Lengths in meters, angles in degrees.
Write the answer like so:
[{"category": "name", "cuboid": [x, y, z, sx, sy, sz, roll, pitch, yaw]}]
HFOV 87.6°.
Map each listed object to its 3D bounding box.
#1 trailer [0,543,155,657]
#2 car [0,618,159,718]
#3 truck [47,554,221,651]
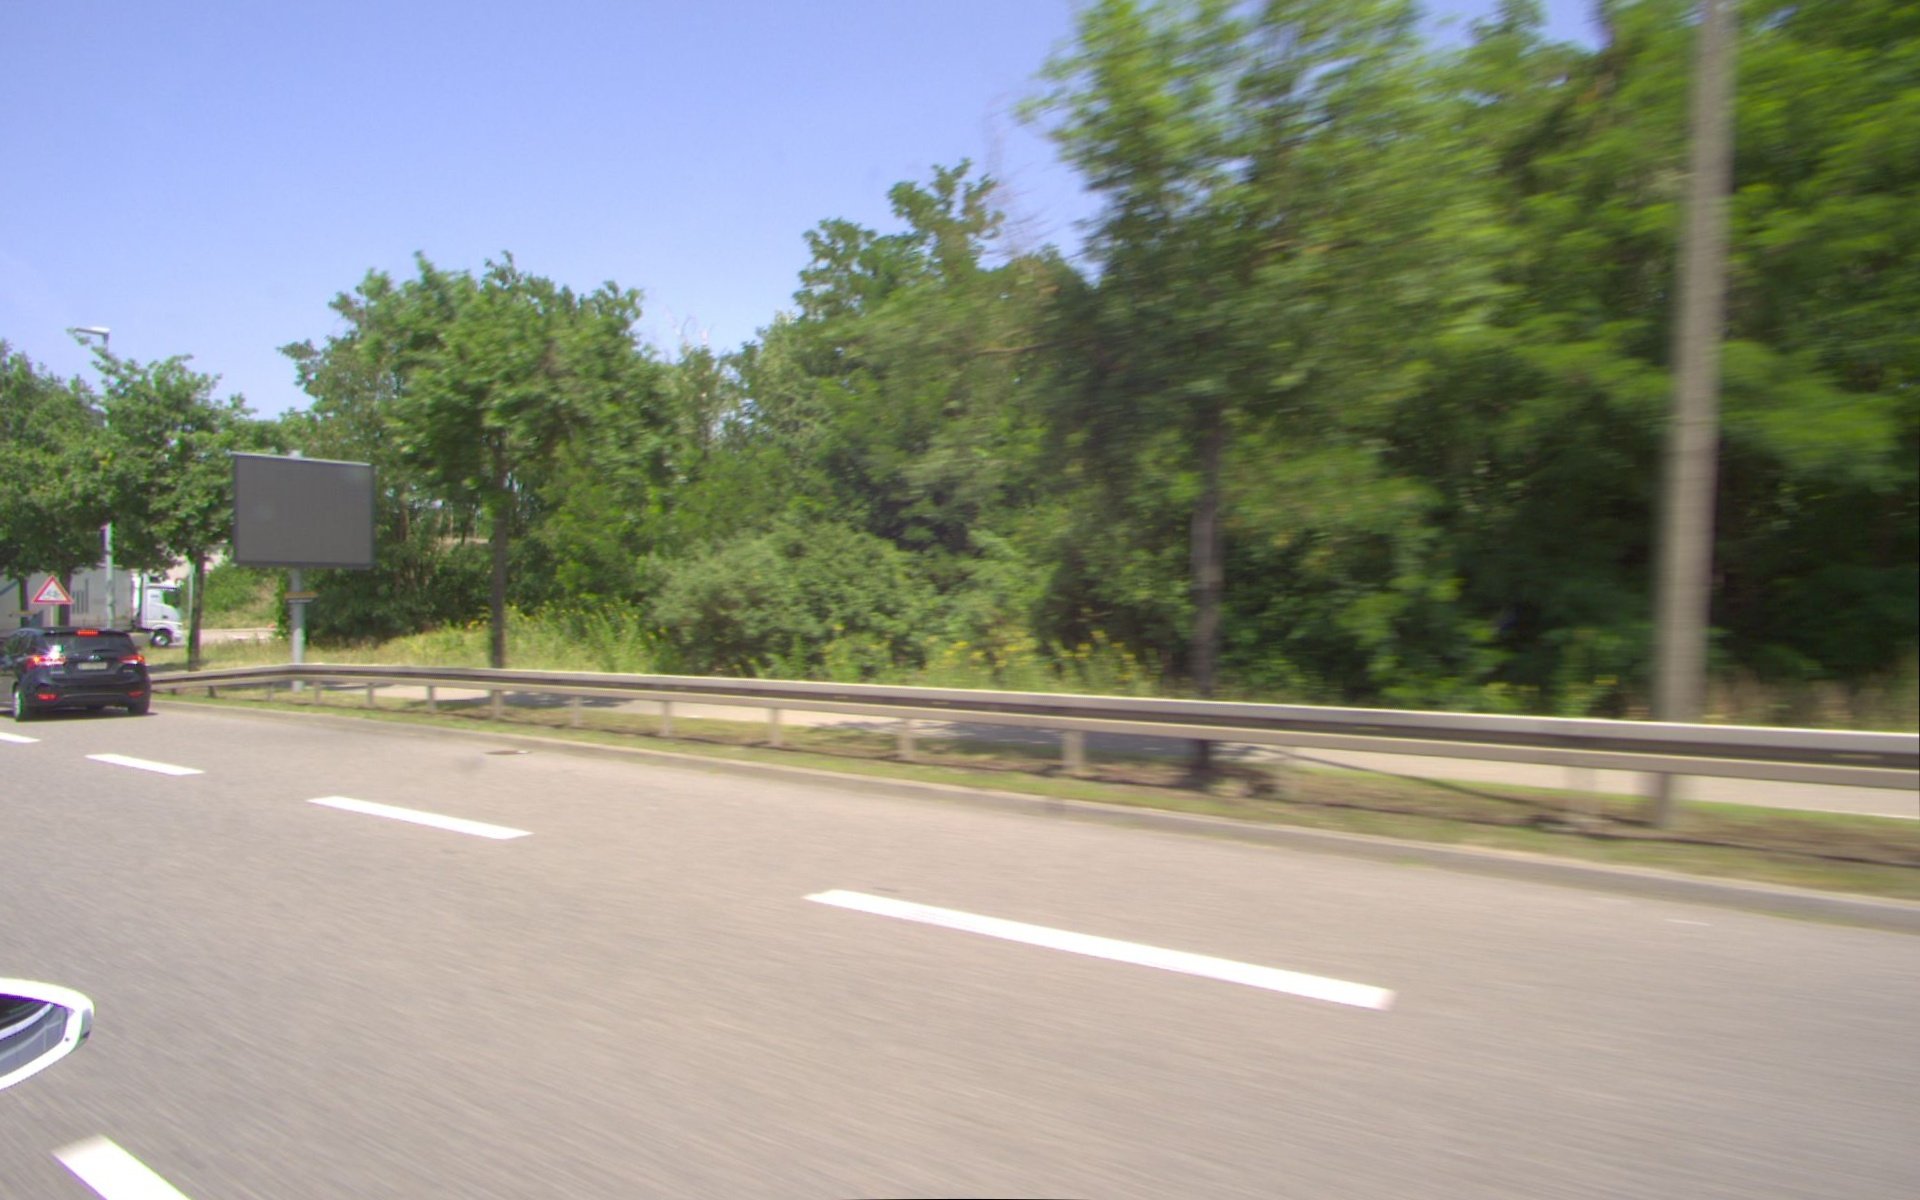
[{"category": "trailer", "cuboid": [-39.893, 0.020, 42.732, 3.035, 4.423, 14.750, 3, -2, -17]}, {"category": "car", "cuboid": [-16.313, 1.155, 18.184, 4.024, 1.620, 1.762, -1, -1, 36]}, {"category": "truck", "cuboid": [-41.008, 0.246, 50.014, 3.026, 4.423, 6.081, 3, -2, 7]}]
